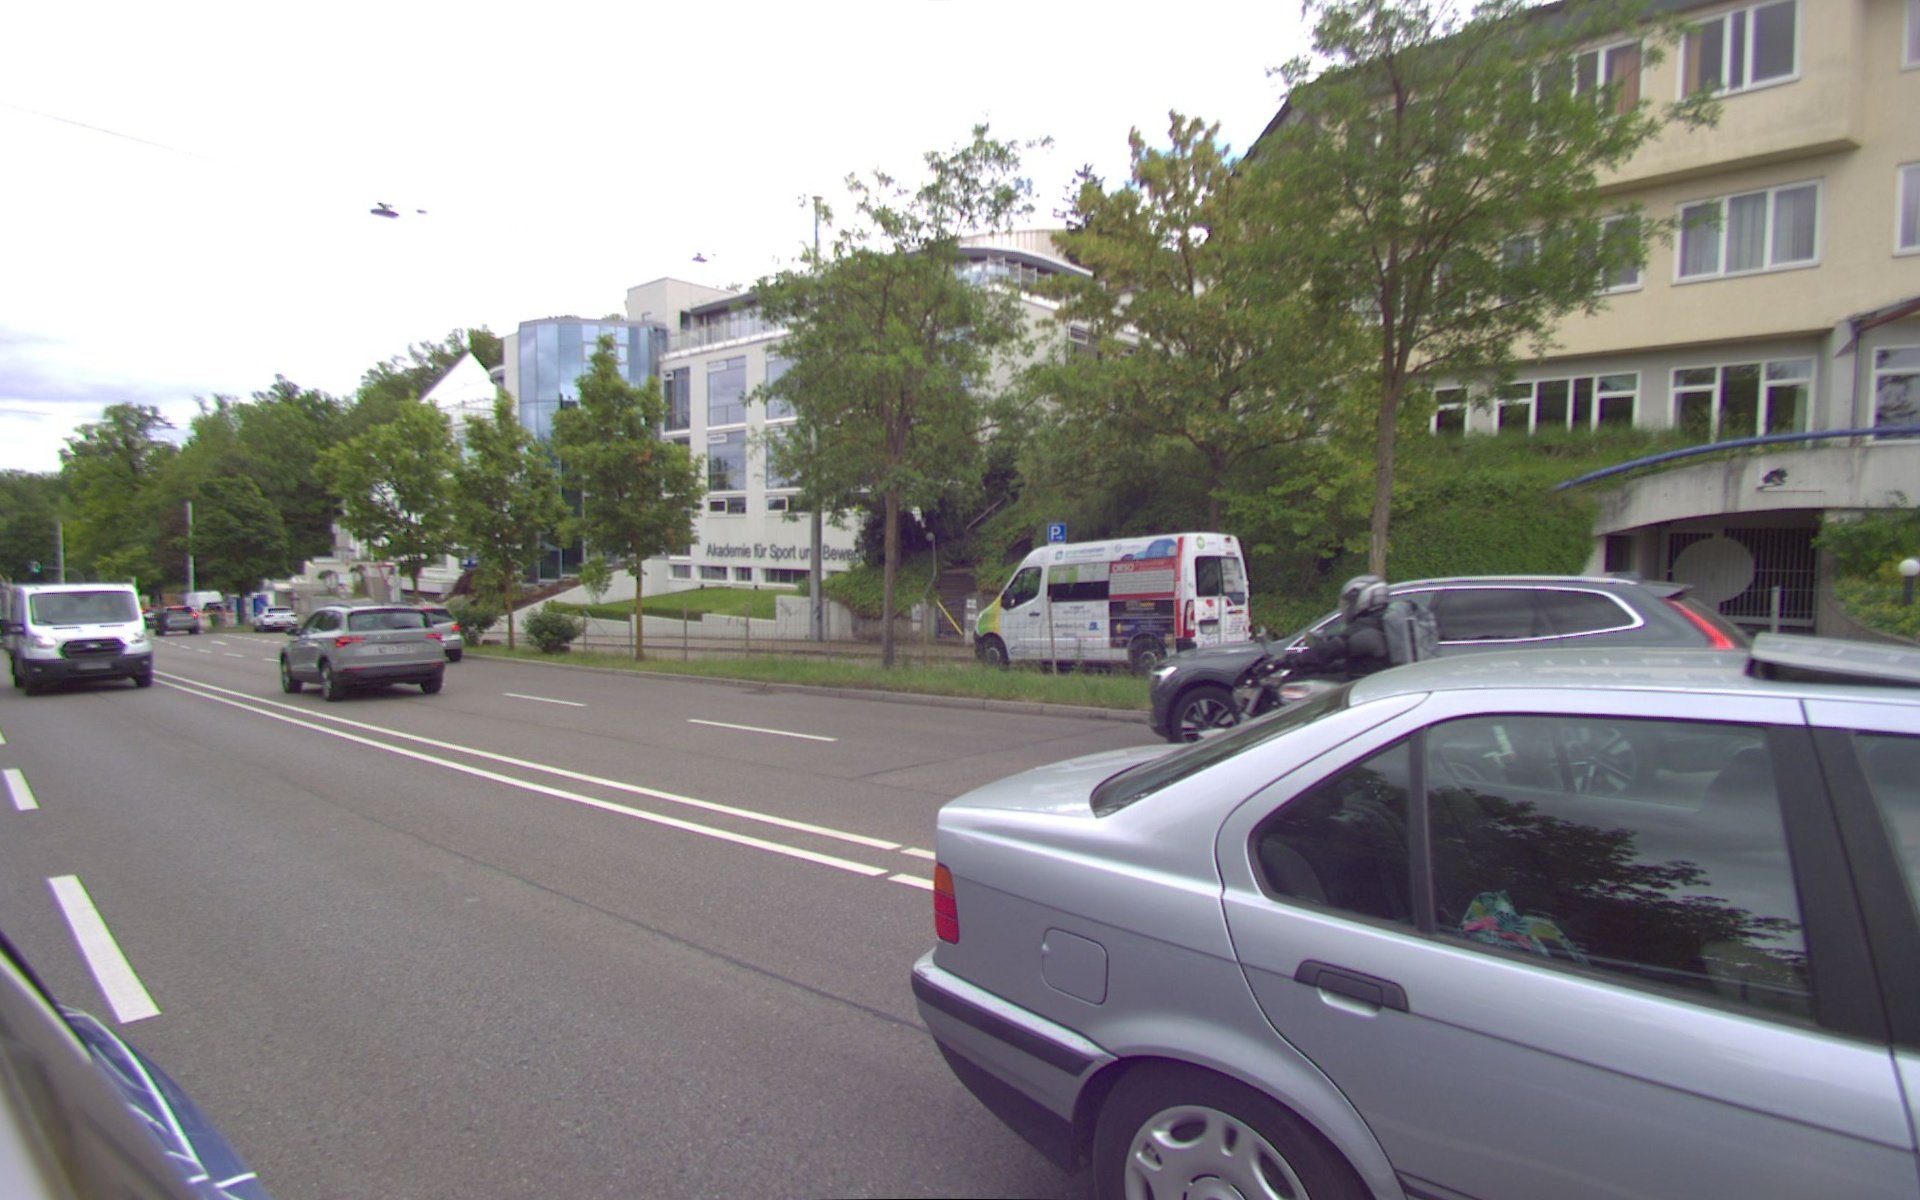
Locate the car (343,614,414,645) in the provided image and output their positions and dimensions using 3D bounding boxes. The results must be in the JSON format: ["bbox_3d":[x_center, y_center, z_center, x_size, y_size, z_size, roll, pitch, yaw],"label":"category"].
[{"bbox_3d":[-27.873,1.406,48.463,4.417,1.439,1.655,-1,-2,42],"label":"car"}]

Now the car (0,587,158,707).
[{"bbox_3d":[-18.965,0.935,21.558,6.268,2.190,1.972,-2,0,43],"label":"car"}]

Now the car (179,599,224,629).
[{"bbox_3d":[-68.952,1.290,91.903,6.532,2.545,1.973,-1,2,42],"label":"car"}]

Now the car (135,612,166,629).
[{"bbox_3d":[-75.320,1.889,94.175,3.292,1.453,1.562,-1,1,40],"label":"car"}]

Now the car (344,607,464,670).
[{"bbox_3d":[-14.276,0.947,25.904,3.892,1.442,1.548,-1,1,44],"label":"car"}]

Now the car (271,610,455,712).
[{"bbox_3d":[-10.717,1.003,18.045,4.076,1.550,1.765,-1,0,44],"label":"car"}]

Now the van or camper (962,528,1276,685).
[{"bbox_3d":[2.739,0.124,18.807,1.970,2.491,5.714,-1,0,-44],"label":"van or camper"}]

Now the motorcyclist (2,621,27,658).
[{"bbox_3d":[-39.729,1.662,42.521,0.930,1.482,0.611,-1,3,41],"label":"motorcyclist"}]

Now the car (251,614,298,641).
[{"bbox_3d":[-40.987,1.607,60.448,1.649,1.515,4.242,-1,0,-44],"label":"car"}]

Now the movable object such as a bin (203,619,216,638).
[{"bbox_3d":[-47.730,1.808,64.338,0.580,1.146,0.646,-3,1,-39],"label":"movable object such as a bin"}]

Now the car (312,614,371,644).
[{"bbox_3d":[-31.840,1.462,52.079,4.092,1.439,1.654,-1,0,45],"label":"car"}]

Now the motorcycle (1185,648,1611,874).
[{"bbox_3d":[2.447,0.839,5.951,2.268,1.064,0.478,-1,-2,43],"label":"motorcycle"}]

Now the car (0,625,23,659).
[{"bbox_3d":[-46.821,2.044,48.900,4.000,1.560,1.972,-2,0,43],"label":"car"}]

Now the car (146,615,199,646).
[{"bbox_3d":[-47.901,1.850,61.533,4.870,1.721,1.745,-1,1,43],"label":"car"}]

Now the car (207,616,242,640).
[{"bbox_3d":[-58.527,2.225,80.512,1.784,1.764,4.256,-4,2,-41],"label":"car"}]

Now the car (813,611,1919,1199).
[{"bbox_3d":[1.912,0.750,1.649,4.617,1.393,1.618,-1,1,41],"label":"car"}]

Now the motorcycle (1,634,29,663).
[{"bbox_3d":[-39.854,2.026,42.652,2.295,1.135,0.567,-1,3,41],"label":"motorcycle"}]

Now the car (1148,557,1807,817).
[{"bbox_3d":[3.962,0.570,8.287,4.462,1.587,1.768,-1,-1,39],"label":"car"}]

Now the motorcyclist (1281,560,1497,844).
[{"bbox_3d":[2.513,0.551,5.945,0.961,1.496,0.752,-1,-2,43],"label":"motorcyclist"}]
